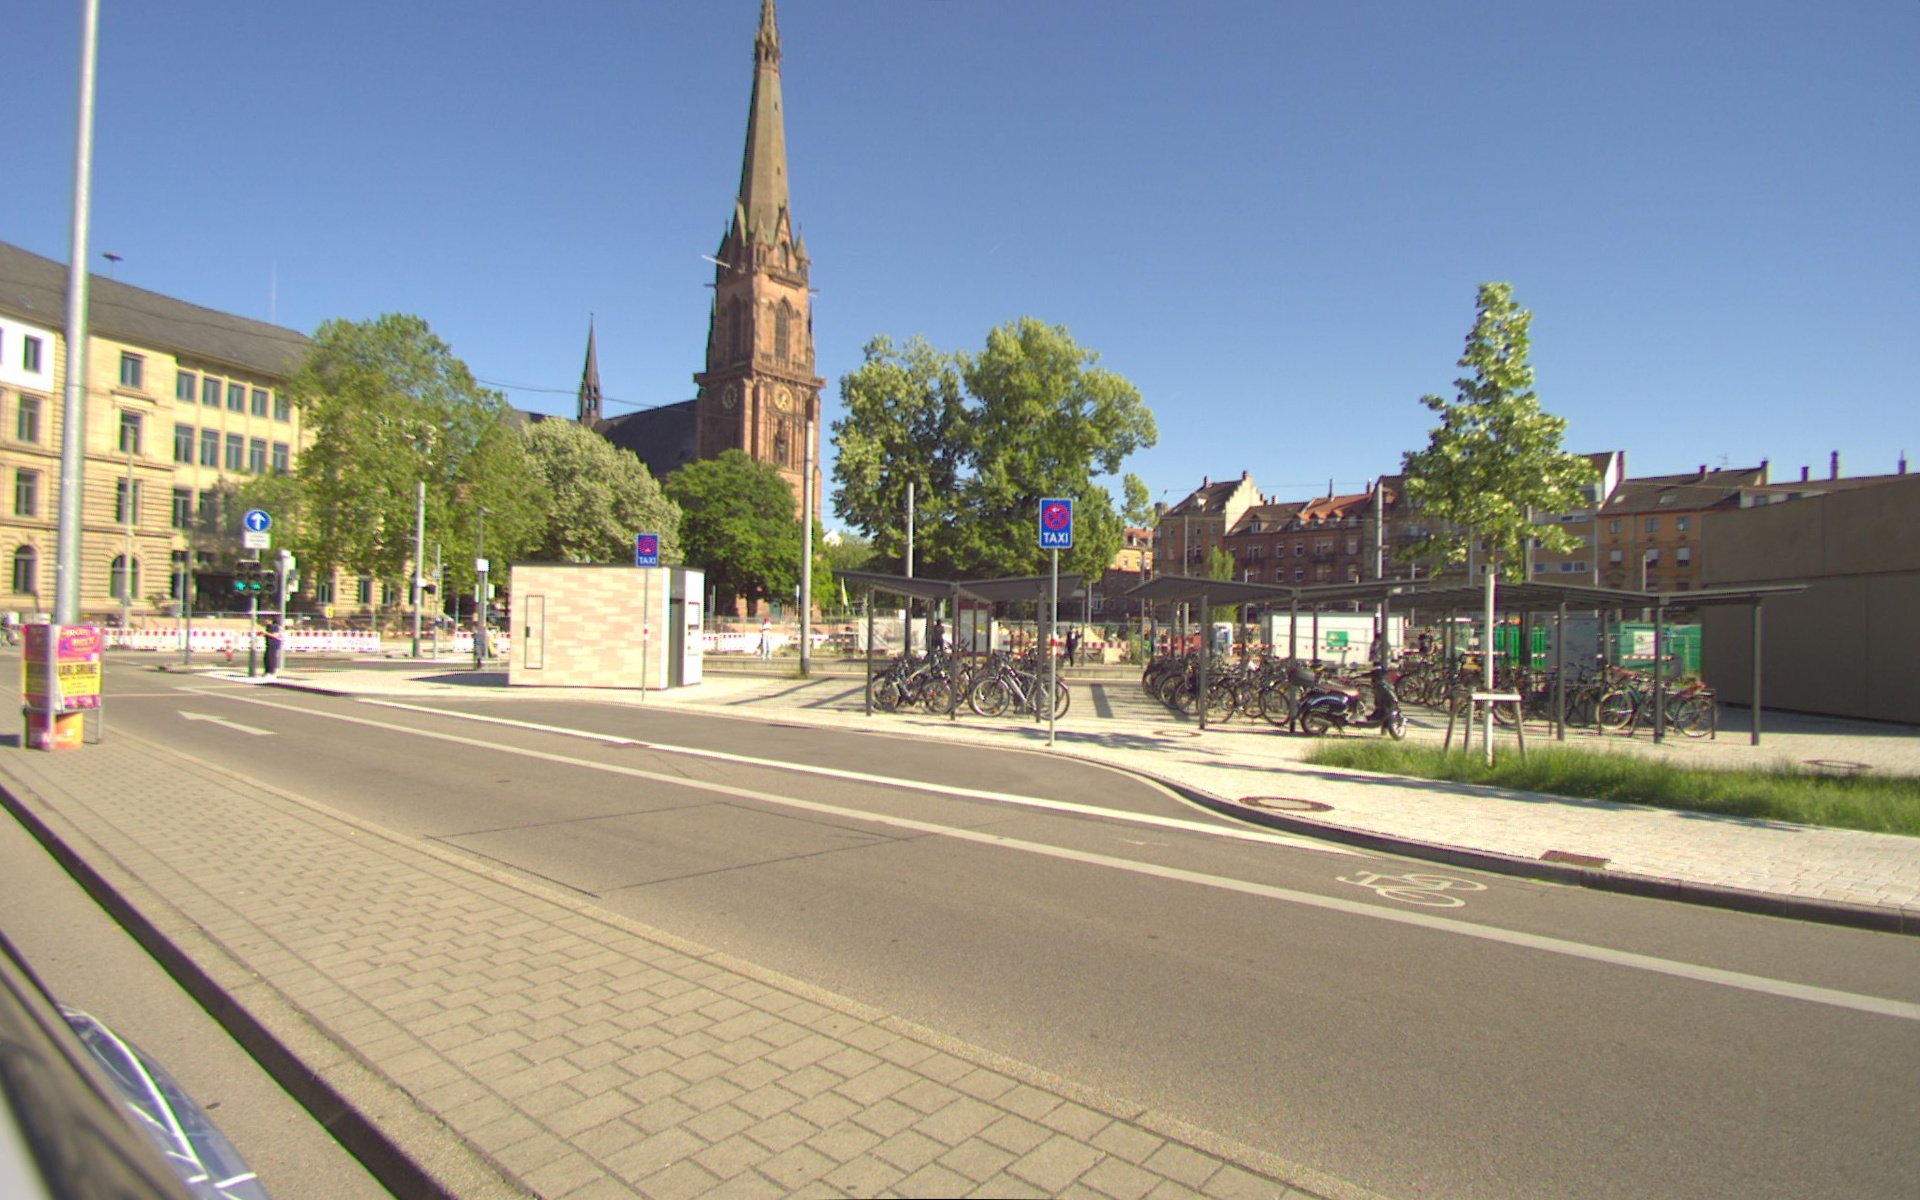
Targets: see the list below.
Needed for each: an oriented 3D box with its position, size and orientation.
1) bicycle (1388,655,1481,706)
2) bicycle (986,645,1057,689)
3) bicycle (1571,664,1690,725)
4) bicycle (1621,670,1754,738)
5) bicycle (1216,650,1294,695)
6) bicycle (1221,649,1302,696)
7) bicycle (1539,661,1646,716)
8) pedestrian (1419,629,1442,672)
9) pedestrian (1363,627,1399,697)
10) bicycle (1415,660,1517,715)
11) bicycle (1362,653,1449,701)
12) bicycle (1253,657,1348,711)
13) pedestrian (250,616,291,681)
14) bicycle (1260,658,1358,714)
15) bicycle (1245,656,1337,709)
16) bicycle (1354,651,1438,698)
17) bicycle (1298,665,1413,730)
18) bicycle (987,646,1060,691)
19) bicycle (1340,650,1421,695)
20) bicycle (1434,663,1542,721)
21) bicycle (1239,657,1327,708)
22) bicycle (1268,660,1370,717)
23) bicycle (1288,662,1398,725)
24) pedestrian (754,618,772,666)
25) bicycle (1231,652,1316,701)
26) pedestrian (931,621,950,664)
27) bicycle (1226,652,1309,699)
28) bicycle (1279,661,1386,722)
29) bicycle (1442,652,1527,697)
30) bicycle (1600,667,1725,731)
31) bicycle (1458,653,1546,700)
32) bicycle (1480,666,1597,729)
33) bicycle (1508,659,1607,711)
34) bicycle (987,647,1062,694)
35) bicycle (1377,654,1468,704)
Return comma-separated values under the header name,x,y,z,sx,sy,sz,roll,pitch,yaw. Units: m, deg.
name,x,y,z,sx,sy,sz,roll,pitch,yaw
bicycle,10.406,1.766,22.223,1.765,1.046,0.567,1,-3,4
bicycle,1.559,1.682,25.654,1.765,1.046,0.567,1,-3,4
bicycle,12.629,1.768,19.102,1.769,1.046,0.566,1,-3,12
bicycle,12.199,1.738,17.001,1.765,1.046,0.567,1,-3,4
bicycle,7.301,1.782,25.082,1.765,1.046,0.567,1,-3,4
bicycle,7.273,1.744,24.446,1.765,1.046,0.567,1,-3,4
bicycle,12.832,1.785,20.558,1.765,1.046,0.567,1,-3,4
pedestrian,16.807,1.794,36.176,0.581,1.530,0.559,1,-2,6
pedestrian,10.693,1.568,25.699,0.671,1.736,0.618,2,-2,-43
bicycle,10.322,1.770,20.674,1.765,1.046,0.567,1,-3,4
bicycle,10.444,1.791,23.734,1.765,1.046,0.567,1,-3,4
bicycle,7.055,1.741,21.017,1.765,1.046,0.567,1,-3,4
pedestrian,-18.552,1.295,27.229,0.648,1.693,0.779,-1,0,42
bicycle,6.996,1.725,20.329,1.765,1.046,0.567,1,-3,4
bicycle,7.097,1.761,21.726,1.765,1.046,0.567,1,-3,4
bicycle,10.476,1.784,24.355,1.765,1.046,0.567,1,-3,4
bicycle,6.889,1.693,17.682,1.765,1.046,0.567,1,-3,4
bicycle,1.567,1.686,25.022,1.765,1.046,0.567,1,-3,4
bicycle,10.407,1.779,25.068,1.765,1.046,0.567,1,-3,4
bicycle,10.248,1.774,19.677,1.765,1.046,0.567,1,-3,4
bicycle,7.145,1.817,22.443,1.765,1.046,0.567,1,-3,4
bicycle,6.965,1.712,19.693,1.765,1.046,0.567,1,-3,4
bicycle,6.932,1.682,18.347,1.765,1.046,0.567,1,-3,4
pedestrian,-7.445,1.586,38.212,0.529,1.736,0.684,0,-6,-19
bicycle,7.182,1.742,23.210,1.765,1.046,0.567,1,-3,4
pedestrian,-0.768,1.685,40.113,0.518,1.667,0.559,-1,0,41
bicycle,7.230,1.765,23.811,1.765,1.046,0.567,1,-3,4
bicycle,6.955,1.705,18.949,1.765,1.046,0.567,1,-3,4
bicycle,12.862,1.822,24.843,1.765,1.046,0.567,1,-3,4
bicycle,12.424,1.743,17.936,1.765,1.046,0.567,1,-3,4
bicycle,12.917,1.823,24.128,1.765,1.046,0.567,1,-3,4
bicycle,10.490,1.764,18.386,1.765,1.046,0.567,1,-3,4
bicycle,12.878,1.829,21.842,1.765,1.046,0.567,1,-3,4
bicycle,1.543,1.694,24.394,1.765,1.046,0.567,1,-3,4
bicycle,10.466,1.779,22.940,1.765,1.046,0.567,1,-3,4
